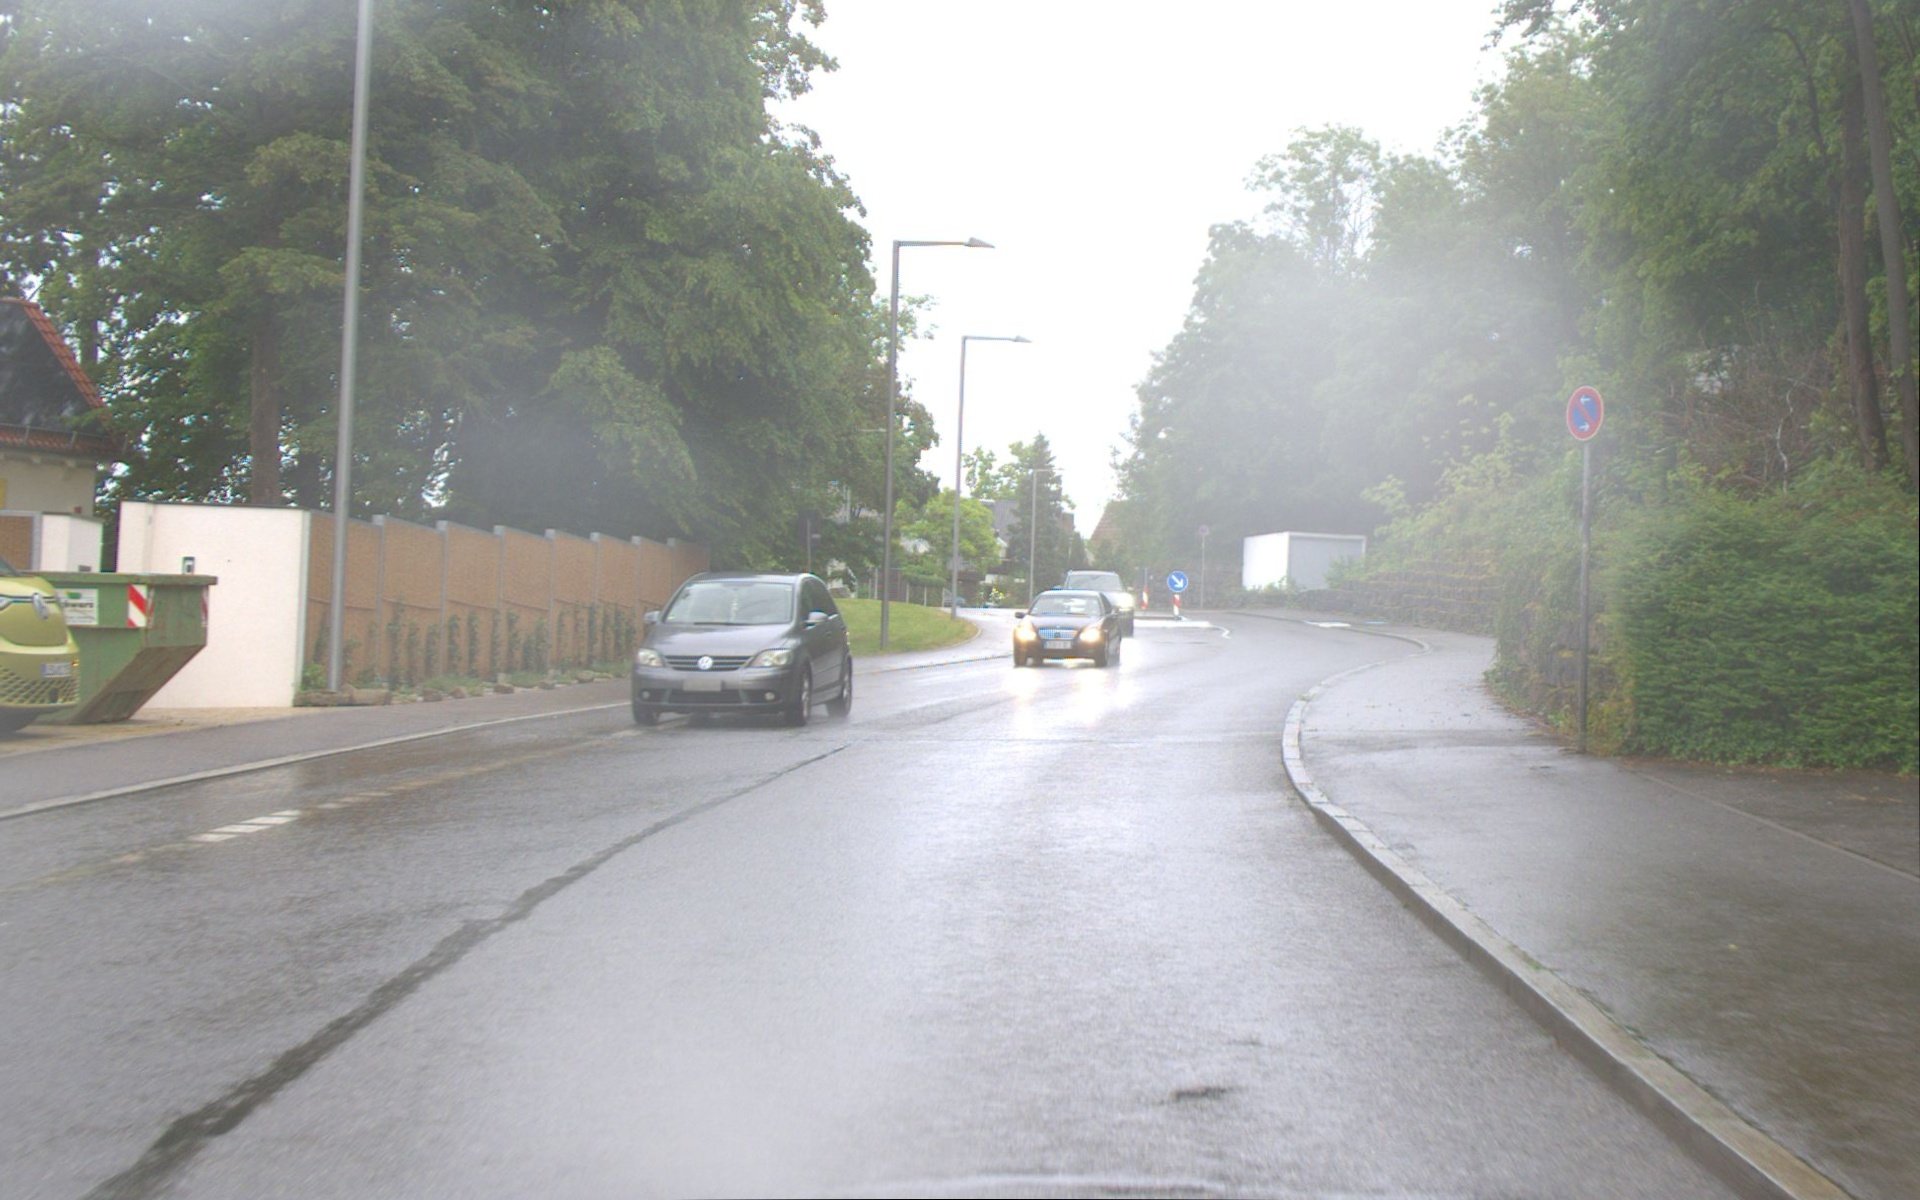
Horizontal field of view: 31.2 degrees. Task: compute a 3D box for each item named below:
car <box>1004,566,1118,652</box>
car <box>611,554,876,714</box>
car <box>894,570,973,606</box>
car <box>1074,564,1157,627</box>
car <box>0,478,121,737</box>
[{"bbox_3d":[1.916,0.153,64.156,1.834,1.506,4.168,1,0,5],"label":"car"},{"bbox_3d":[-2.169,0.318,35.782,1.835,1.506,4.616,1,0,8],"label":"car"},{"bbox_3d":[-1.416,-0.643,184.564,2.008,1.626,3.999,5,-1,-42],"label":"car"},{"bbox_3d":[4.220,-0.126,92.831,1.919,1.642,4.545,0,0,7],"label":"car"},{"bbox_3d":[-8.899,-0.007,25.959,4.504,1.853,2.089,1,1,7],"label":"car"}]
